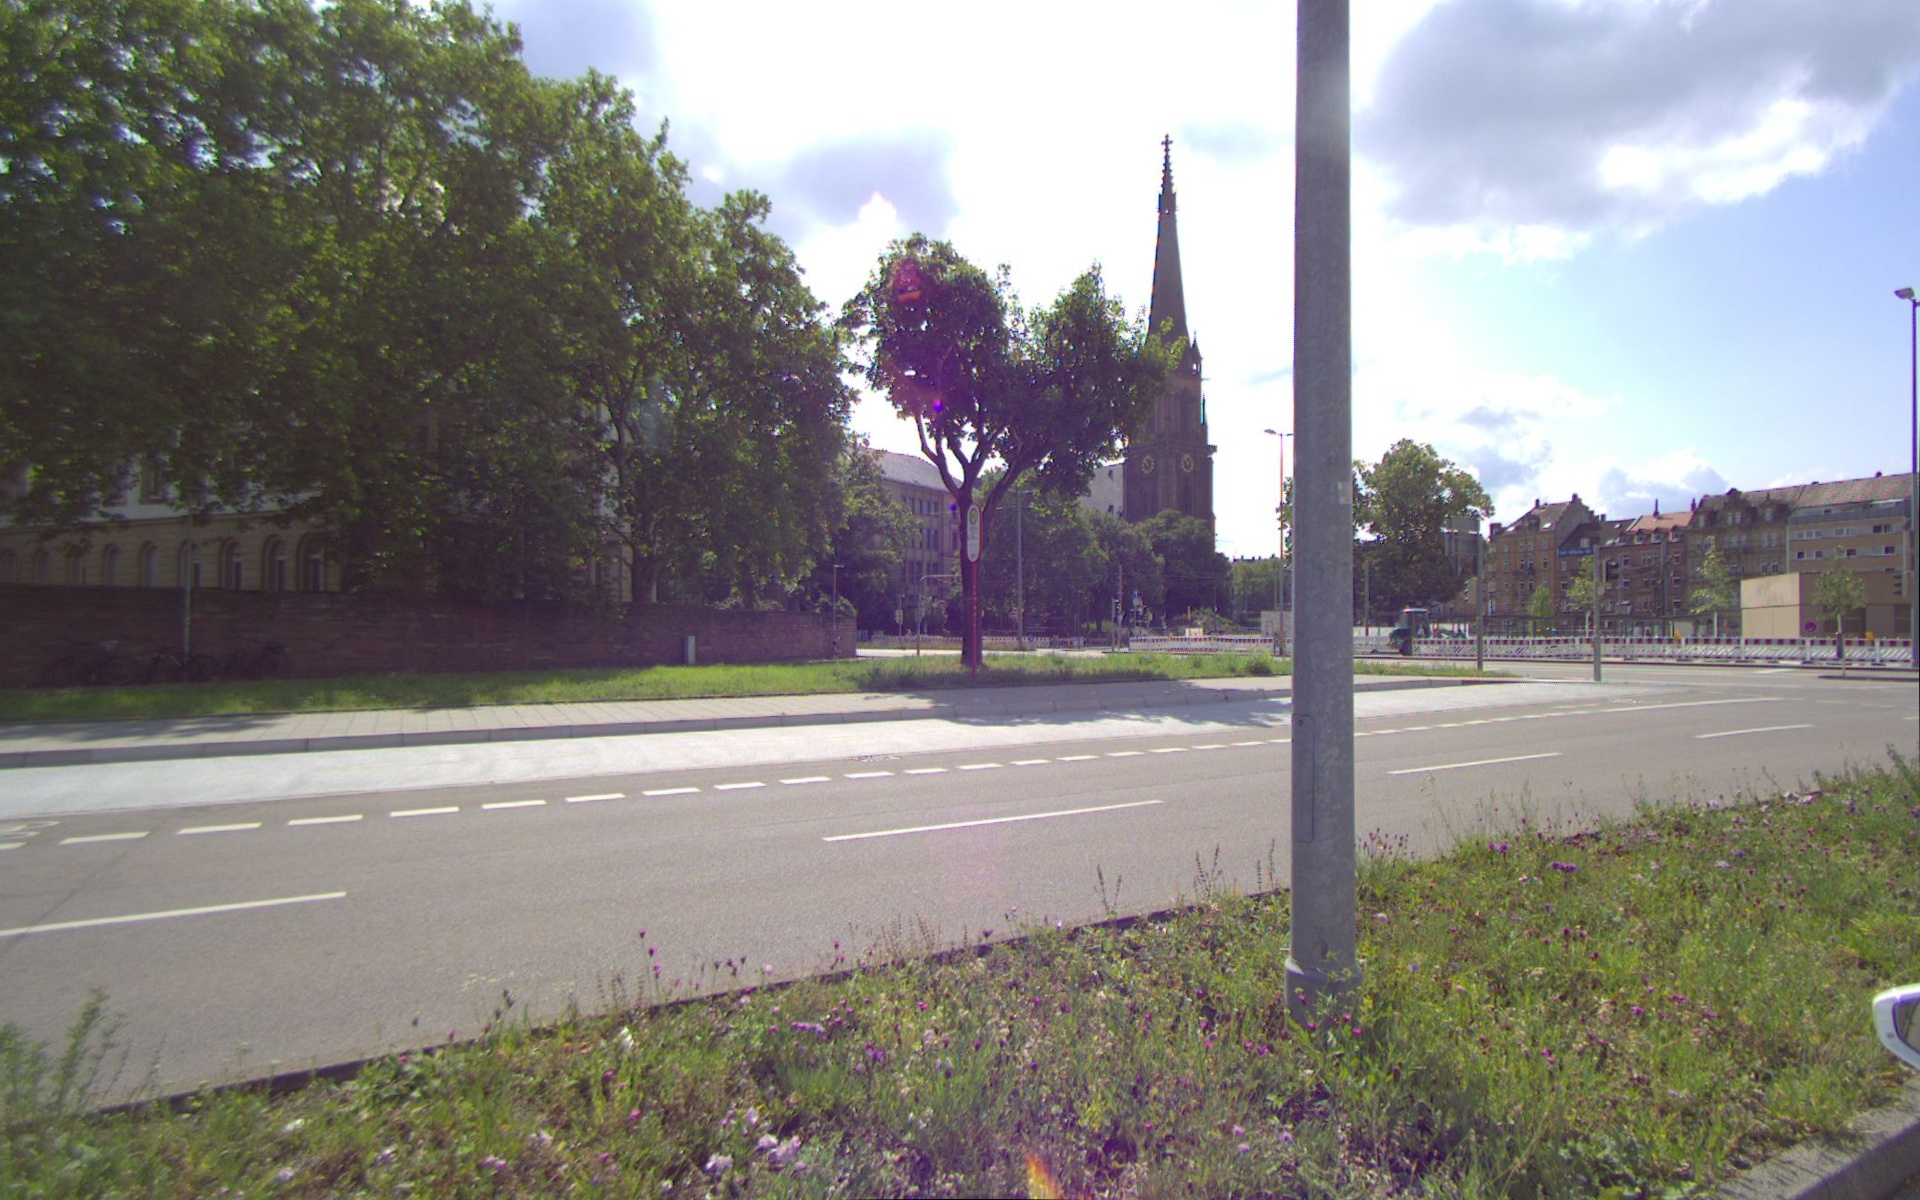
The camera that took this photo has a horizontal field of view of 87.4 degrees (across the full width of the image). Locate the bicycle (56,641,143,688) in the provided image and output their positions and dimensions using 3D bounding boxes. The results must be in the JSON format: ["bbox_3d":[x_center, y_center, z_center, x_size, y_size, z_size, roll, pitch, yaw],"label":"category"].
[{"bbox_3d":[-19.691,1.453,23.013,0.465,1.024,1.449,-1,-1,39],"label":"bicycle"}]

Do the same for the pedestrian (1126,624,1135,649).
[{"bbox_3d":[13.038,2.815,76.854,0.492,1.874,0.526,1,-2,-22],"label":"pedestrian"}]

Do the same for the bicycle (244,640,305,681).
[{"bbox_3d":[-17.773,1.550,26.064,0.348,1.024,1.249,-1,-1,39],"label":"bicycle"}]

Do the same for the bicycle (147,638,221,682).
[{"bbox_3d":[-18.864,1.443,24.435,0.386,1.024,1.364,-1,-1,39],"label":"bicycle"}]

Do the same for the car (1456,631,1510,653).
[{"bbox_3d":[46.563,3.721,89.543,4.099,1.906,1.802,0,-2,23],"label":"car"}]

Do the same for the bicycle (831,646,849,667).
[{"bbox_3d":[-5.976,2.798,50.063,0.386,1.005,1.524,0,-2,13],"label":"bicycle"}]

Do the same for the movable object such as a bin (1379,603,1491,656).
[{"bbox_3d":[27.021,1.693,57.373,5.430,2.923,2.289,0,-2,15],"label":"movable object such as a bin"}]
